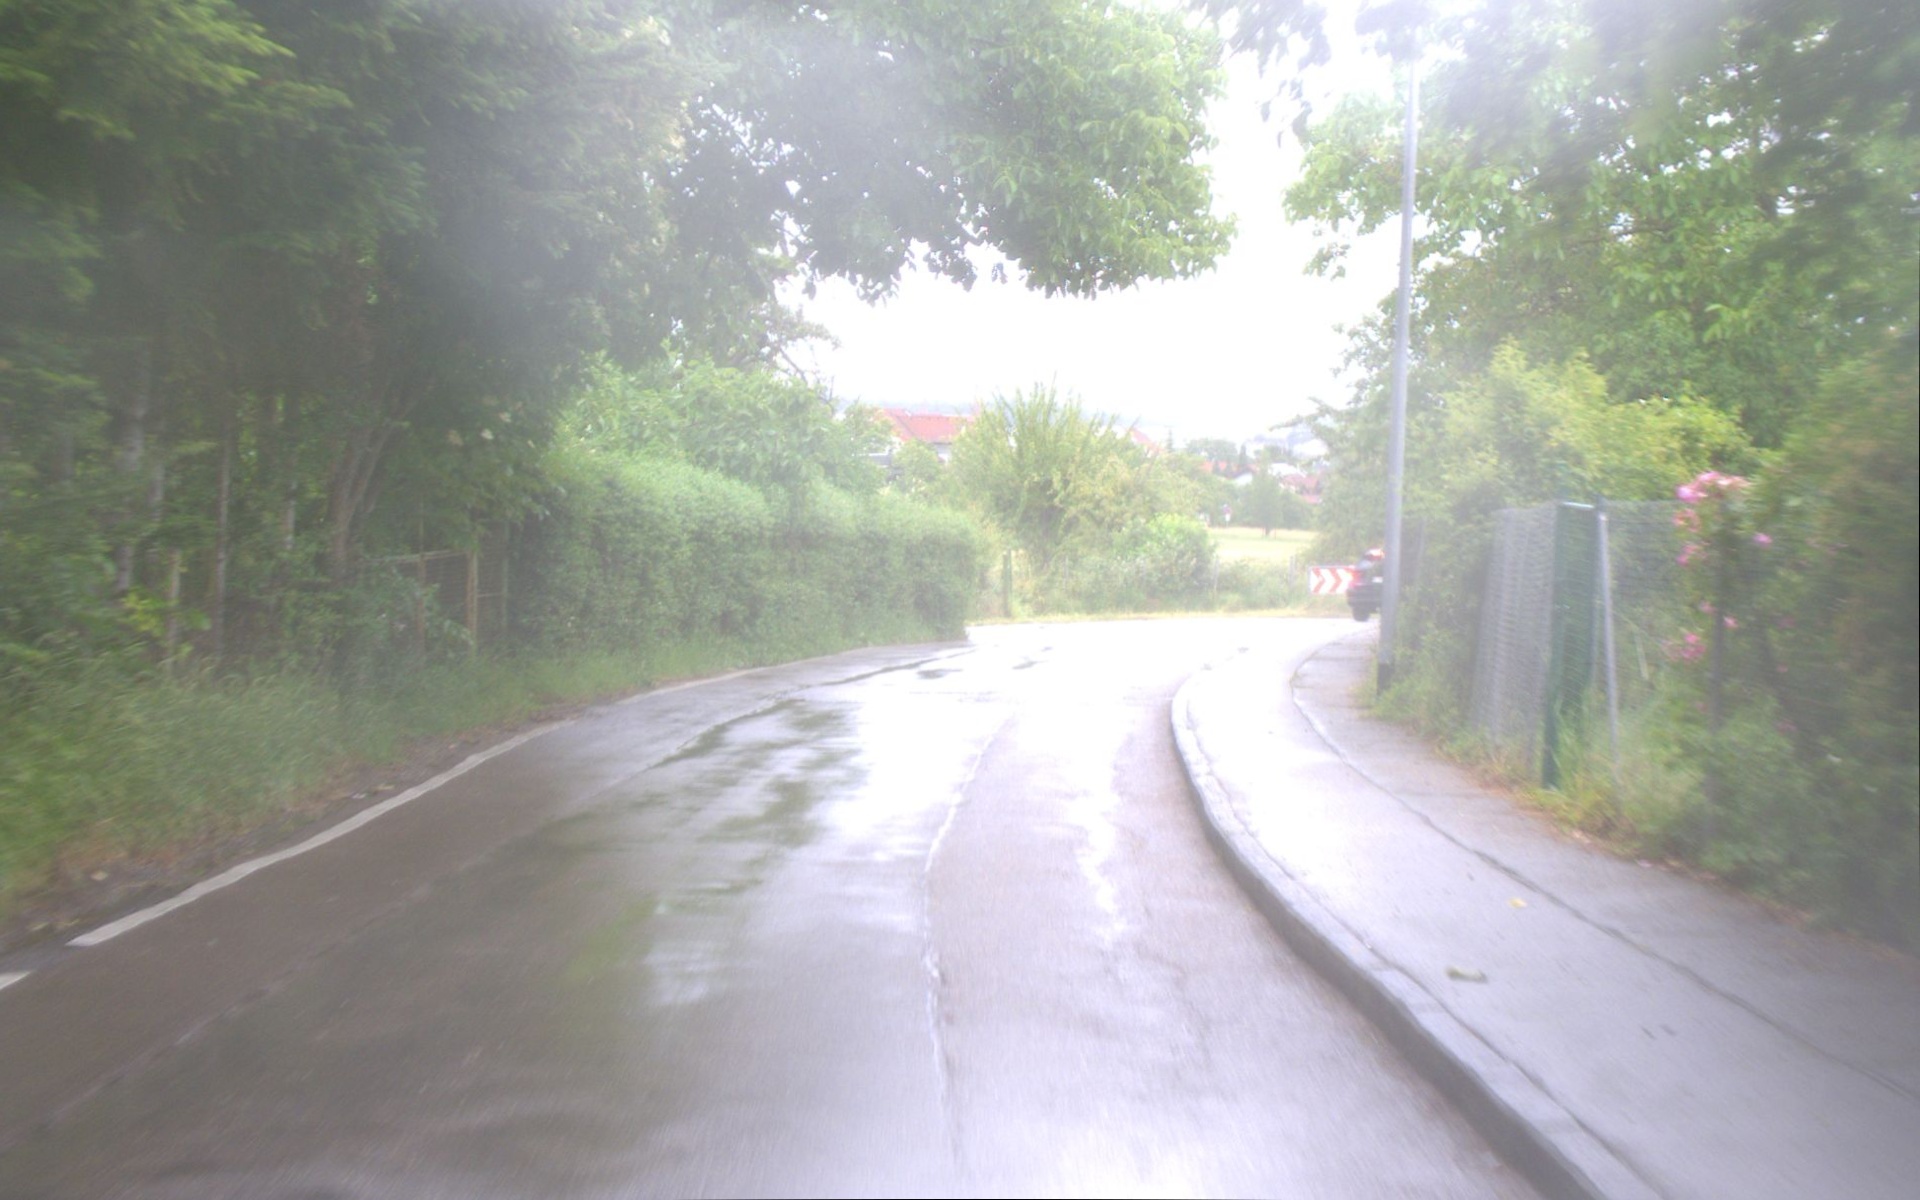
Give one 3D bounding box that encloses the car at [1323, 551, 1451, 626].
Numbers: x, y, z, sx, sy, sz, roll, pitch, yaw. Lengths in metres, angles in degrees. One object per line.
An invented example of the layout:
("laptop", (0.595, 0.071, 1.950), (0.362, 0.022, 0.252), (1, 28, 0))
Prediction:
("car", (8.565, -0.222, 68.762), (1.636, 1.445, 3.540), (1, 0, 22))
